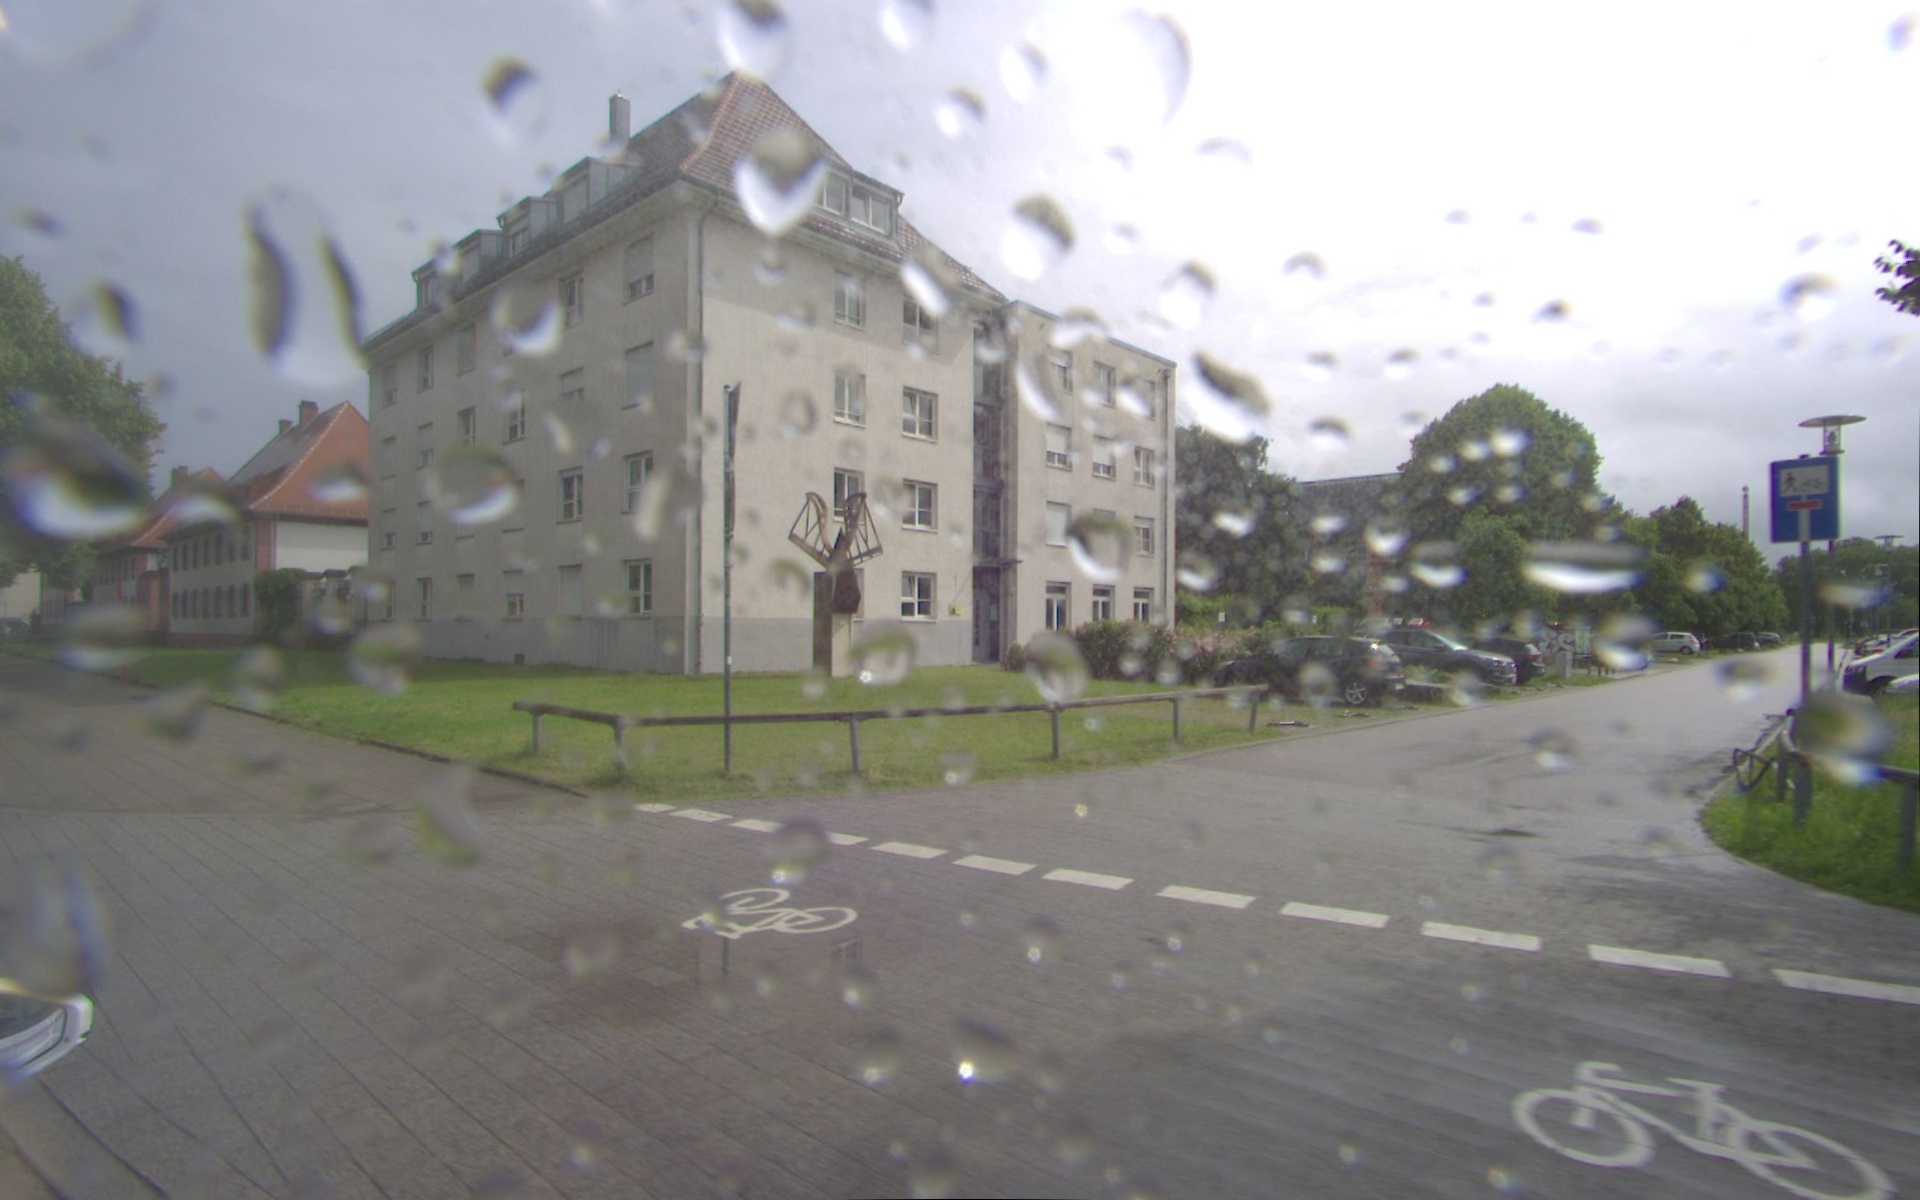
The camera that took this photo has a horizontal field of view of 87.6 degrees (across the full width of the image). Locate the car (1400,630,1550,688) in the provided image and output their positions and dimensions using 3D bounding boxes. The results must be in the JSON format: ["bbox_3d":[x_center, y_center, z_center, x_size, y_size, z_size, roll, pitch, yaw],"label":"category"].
[{"bbox_3d":[16.201,1.812,31.613,3.956,1.684,1.602,-1,-1,42],"label":"car"}]

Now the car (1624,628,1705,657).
[{"bbox_3d":[47.604,2.864,67.725,4.342,1.874,1.920,-1,-1,42],"label":"car"}]

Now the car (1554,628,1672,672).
[{"bbox_3d":[30.028,2.244,46.097,4.342,1.874,1.920,-1,-1,42],"label":"car"}]

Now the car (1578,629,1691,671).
[{"bbox_3d":[32.443,2.358,48.222,4.342,1.874,1.920,-1,-1,42],"label":"car"}]

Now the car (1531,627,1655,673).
[{"bbox_3d":[27.361,2.115,43.348,4.342,1.874,1.920,-1,-1,42],"label":"car"}]

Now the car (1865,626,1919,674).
[{"bbox_3d":[36.032,1.849,36.876,3.954,1.761,1.920,-1,-1,41],"label":"car"}]

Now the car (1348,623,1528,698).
[{"bbox_3d":[12.984,1.574,27.329,4.085,1.874,1.920,0,-1,42],"label":"car"}]

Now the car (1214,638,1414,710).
[{"bbox_3d":[7.519,1.518,21.497,3.831,1.343,1.381,-1,-1,42],"label":"car"}]

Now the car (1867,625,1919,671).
[{"bbox_3d":[42.116,2.070,43.304,4.224,1.953,1.920,0,-1,42],"label":"car"}]

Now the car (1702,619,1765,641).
[{"bbox_3d":[68.782,2.673,89.097,4.342,1.874,1.920,-1,-1,42],"label":"car"}]

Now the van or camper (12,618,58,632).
[{"bbox_3d":[-138.213,3.704,149.670,2.108,1.950,4.850,0,-2,43],"label":"van or camper"}]

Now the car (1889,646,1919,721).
[{"bbox_3d":[22.280,1.807,21.037,3.954,1.568,1.920,-1,-1,41],"label":"car"}]

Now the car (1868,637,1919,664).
[{"bbox_3d":[58.502,3.117,61.369,4.148,1.568,1.920,-1,-1,42],"label":"car"}]

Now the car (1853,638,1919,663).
[{"bbox_3d":[62.041,3.342,66.448,4.148,1.568,1.920,-1,-1,42],"label":"car"}]

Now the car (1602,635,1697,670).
[{"bbox_3d":[36.188,2.709,52.577,3.956,1.684,1.602,-1,-1,42],"label":"car"}]

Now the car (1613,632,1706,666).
[{"bbox_3d":[41.363,2.879,59.238,4.342,1.874,1.920,-1,-1,42],"label":"car"}]

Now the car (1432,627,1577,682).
[{"bbox_3d":[17.852,1.741,32.951,3.956,1.684,1.602,-1,-1,42],"label":"car"}]

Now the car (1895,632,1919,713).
[{"bbox_3d":[20.420,1.411,18.903,3.954,1.568,1.920,-1,-1,41],"label":"car"}]

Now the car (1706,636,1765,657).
[{"bbox_3d":[73.771,4.363,95.324,4.342,1.874,1.920,-1,-1,42],"label":"car"}]

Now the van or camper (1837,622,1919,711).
[{"bbox_3d":[24.736,1.643,23.946,5.616,2.131,1.983,0,-2,43],"label":"van or camper"}]
